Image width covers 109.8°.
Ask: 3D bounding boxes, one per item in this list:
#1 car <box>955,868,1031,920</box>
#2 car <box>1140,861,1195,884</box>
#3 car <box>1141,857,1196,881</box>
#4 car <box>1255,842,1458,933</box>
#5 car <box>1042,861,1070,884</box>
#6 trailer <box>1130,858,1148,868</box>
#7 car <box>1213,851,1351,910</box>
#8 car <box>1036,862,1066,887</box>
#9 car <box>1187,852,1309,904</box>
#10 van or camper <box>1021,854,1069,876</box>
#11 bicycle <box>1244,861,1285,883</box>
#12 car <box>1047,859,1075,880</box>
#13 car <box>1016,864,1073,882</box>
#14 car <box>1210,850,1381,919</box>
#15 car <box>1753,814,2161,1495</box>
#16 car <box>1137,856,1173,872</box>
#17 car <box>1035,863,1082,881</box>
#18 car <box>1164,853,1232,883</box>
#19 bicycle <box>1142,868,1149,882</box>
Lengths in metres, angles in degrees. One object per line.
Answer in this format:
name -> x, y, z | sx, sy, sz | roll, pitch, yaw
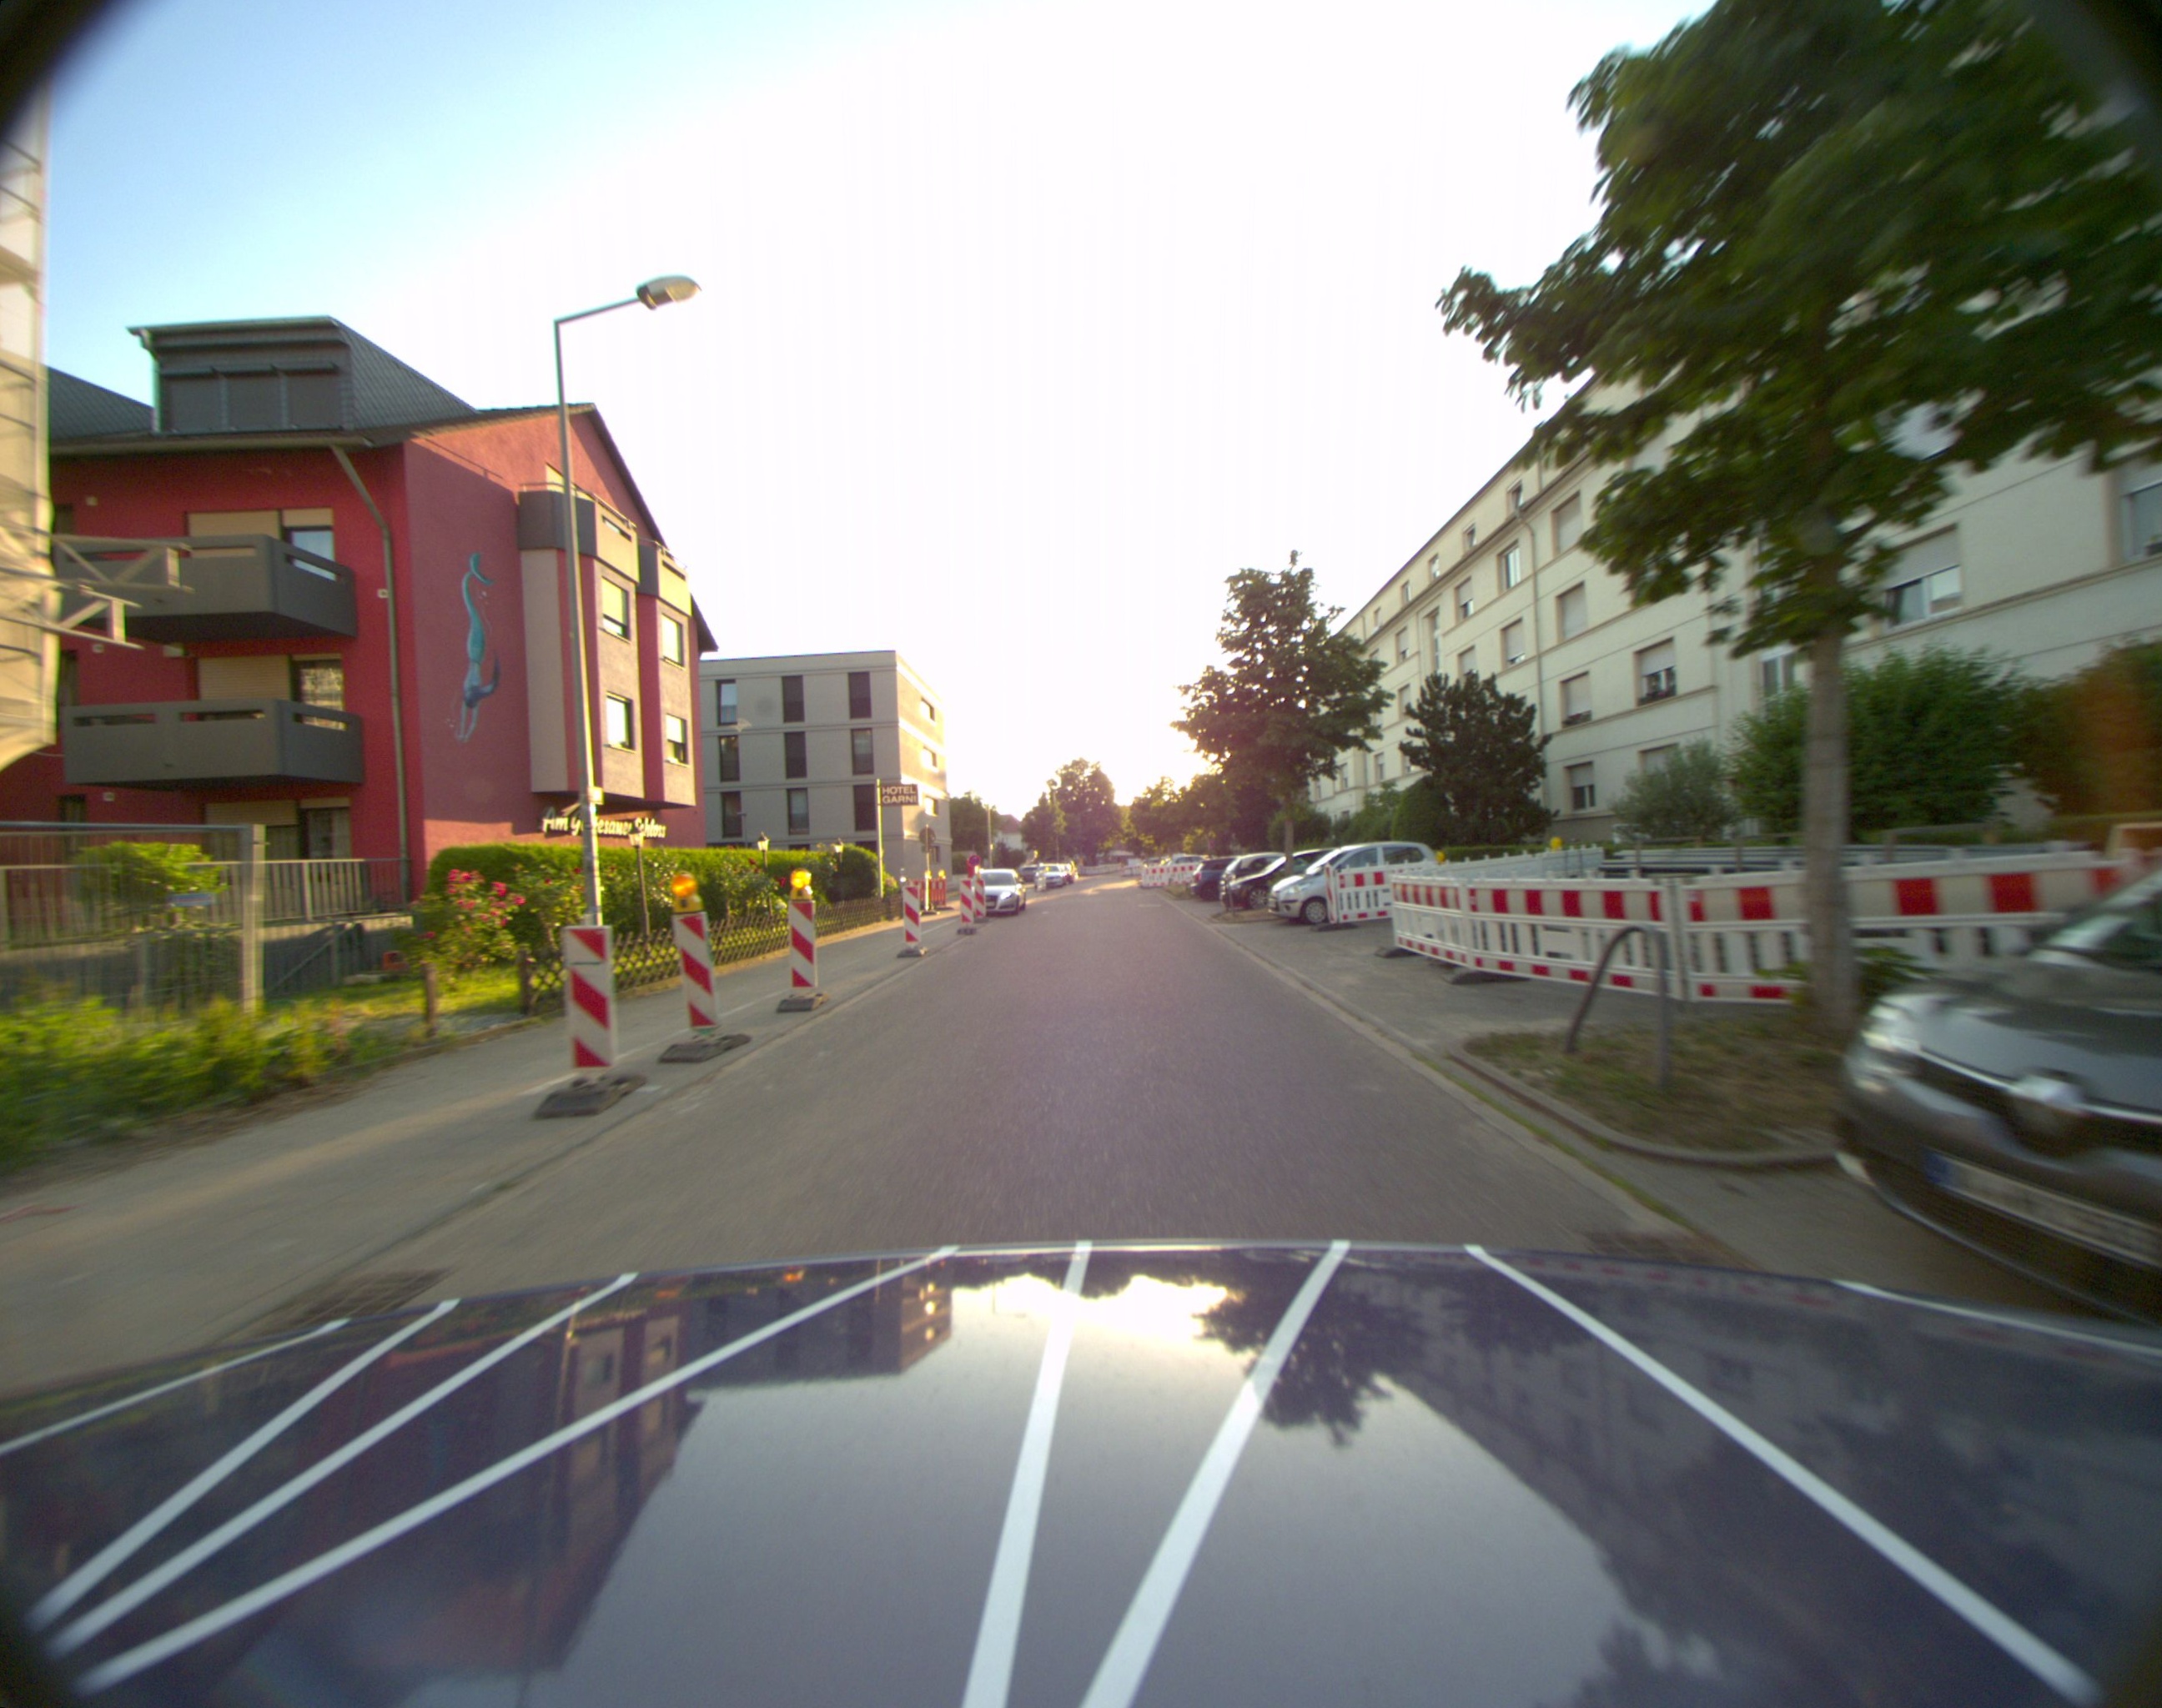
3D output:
car -> -2.727, 1.209, 24.347 | 1.780, 1.388, 4.108 | -3, 0, 2
car -> 6.347, 1.330, 55.867 | 3.851, 1.376, 1.607 | -4, 0, 3
car -> 6.650, 1.158, 57.777 | 3.996, 1.533, 1.729 | -4, 0, 4
car -> 5.588, 0.643, 15.687 | 3.484, 1.557, 1.727 | -4, 1, -3
car -> -1.701, 1.222, 52.738 | 1.802, 1.461, 3.843 | -3, 0, 0
trailer -> 12.692, 1.935, 166.217 | 3.682, 2.056, 2.002 | -3, 0, 16
car -> 5.993, 0.780, 22.955 | 3.686, 1.475, 1.728 | -4, 1, 2
car -> -1.827, 1.251, 47.441 | 1.618, 1.461, 3.997 | -3, 0, 0
car -> 5.514, 0.771, 25.455 | 3.686, 1.437, 1.728 | -4, 1, 3
van or camper -> -3.593, 1.127, 76.342 | 4.659, 1.942, 2.094 | -3, 0, -1
bicycle -> 9.232, 0.910, 38.218 | 1.925, 0.986, 0.360 | -3, 0, 3
car -> -1.463, 1.172, 57.228 | 1.744, 1.461, 3.760 | -3, 0, 3
car -> -3.164, 1.659, 66.360 | 4.829, 1.389, 1.770 | -1, -1, 3
car -> 5.523, 0.769, 19.957 | 3.986, 1.480, 1.728 | -4, 1, 4
car -> 4.317, 0.589, 1.892 | 3.632, 1.547, 1.693 | -5, 0, 2
car -> 10.072, 1.341, 103.635 | 4.784, 2.057, 2.001 | -3, 0, 7
car -> -1.993, 1.603, 68.810 | 4.064, 1.492, 1.771 | -1, -1, 5
car -> 6.959, 0.842, 45.484 | 3.709, 1.475, 1.728 | -4, 0, 0
bicycle -> 5.303, 1.736, 62.564 | 0.448, 1.090, 1.629 | -1, 1, 2
